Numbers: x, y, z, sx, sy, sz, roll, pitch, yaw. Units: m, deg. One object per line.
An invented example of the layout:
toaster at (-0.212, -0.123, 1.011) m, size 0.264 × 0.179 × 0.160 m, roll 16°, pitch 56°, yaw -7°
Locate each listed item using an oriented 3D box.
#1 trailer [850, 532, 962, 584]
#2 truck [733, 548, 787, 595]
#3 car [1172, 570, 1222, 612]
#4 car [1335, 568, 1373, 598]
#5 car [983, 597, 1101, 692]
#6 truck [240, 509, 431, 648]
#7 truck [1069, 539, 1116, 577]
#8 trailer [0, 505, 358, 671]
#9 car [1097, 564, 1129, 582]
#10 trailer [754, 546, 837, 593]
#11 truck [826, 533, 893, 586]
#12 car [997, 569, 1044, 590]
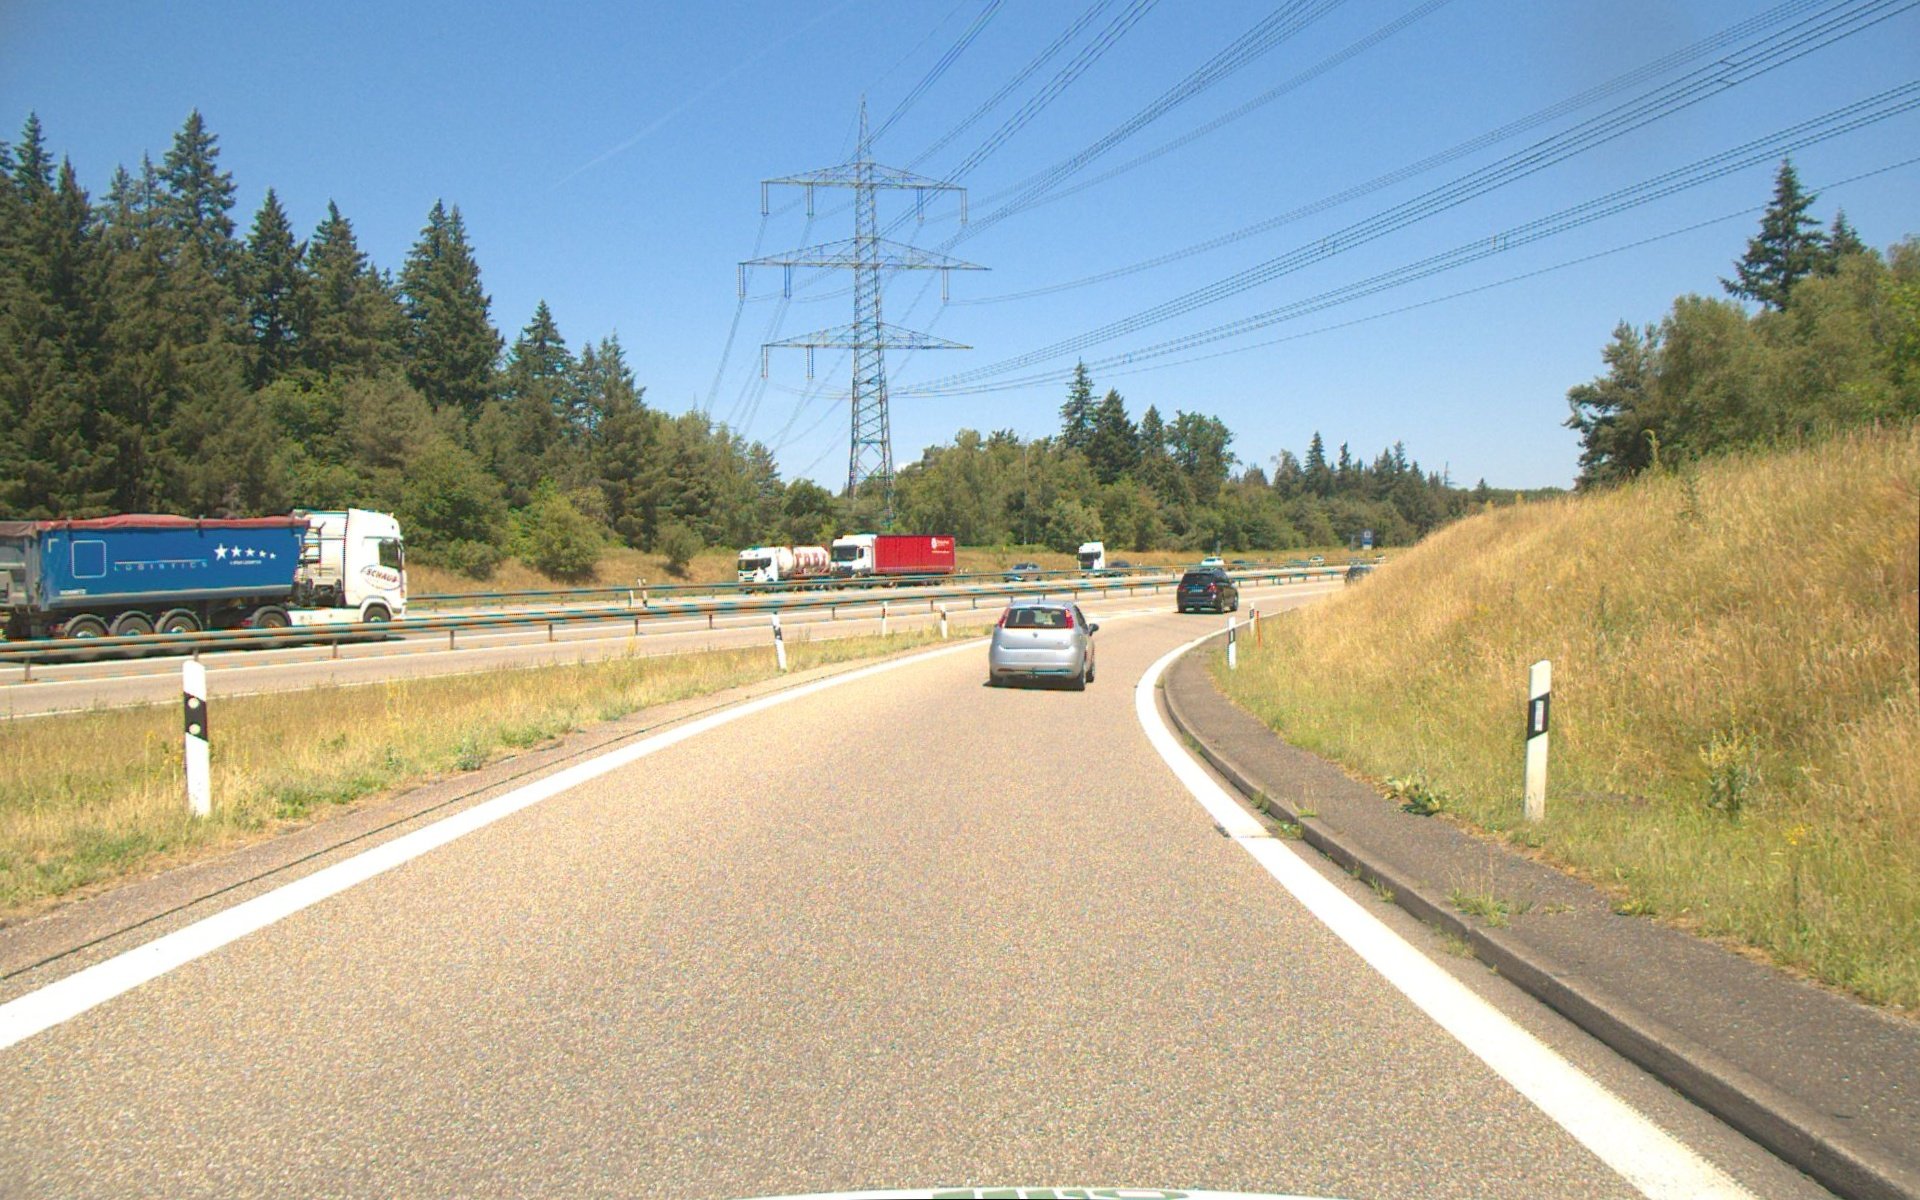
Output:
trailer at (-4.113, -3.436, 132.334) m, size 2.493 × 3.863 × 13.726 m, roll 0°, pitch 3°, yaw 28°
truck at (-16.891, -2.452, 139.760) m, size 2.714 × 3.863 × 3.996 m, roll 0°, pitch 2°, yaw 28°
car at (10.032, -0.387, 69.763) m, size 1.670 × 1.705 × 3.400 m, roll 0°, pitch 0°, yaw 16°
car at (24.981, -1.102, 104.881) m, size 1.843 × 1.713 × 4.001 m, roll -3°, pitch 0°, yaw 20°
car at (1.494, 0.736, 29.189) m, size 1.670 × 1.507 × 3.401 m, roll 2°, pitch 1°, yaw 9°
truck at (-18.266, -0.704, 48.639) m, size 2.702 × 3.873 × 4.619 m, roll 0°, pitch 2°, yaw 26°
truck at (15.846, -4.954, 197.004) m, size 2.805 × 4.421 × 7.520 m, roll 0°, pitch 0°, yaw 28°
trailer at (-20.666, -0.480, 43.628) m, size 2.716 × 3.873 × 9.879 m, roll 0°, pitch 2°, yaw 26°
car at (14.860, -2.569, 160.543) m, size 1.738 × 1.713 × 3.683 m, roll 0°, pitch 0°, yaw 30°
trailer at (-14.308, -2.700, 144.722) m, size 2.719 × 3.863 × 8.926 m, roll 0°, pitch 3°, yaw 28°
truck at (-7.612, -3.122, 125.633) m, size 2.493 × 3.863 × 5.662 m, roll 0°, pitch 2°, yaw 28°
car at (4.921, -1.657, 133.511) m, size 1.738 × 1.713 × 4.816 m, roll 0°, pitch 1°, yaw 30°
